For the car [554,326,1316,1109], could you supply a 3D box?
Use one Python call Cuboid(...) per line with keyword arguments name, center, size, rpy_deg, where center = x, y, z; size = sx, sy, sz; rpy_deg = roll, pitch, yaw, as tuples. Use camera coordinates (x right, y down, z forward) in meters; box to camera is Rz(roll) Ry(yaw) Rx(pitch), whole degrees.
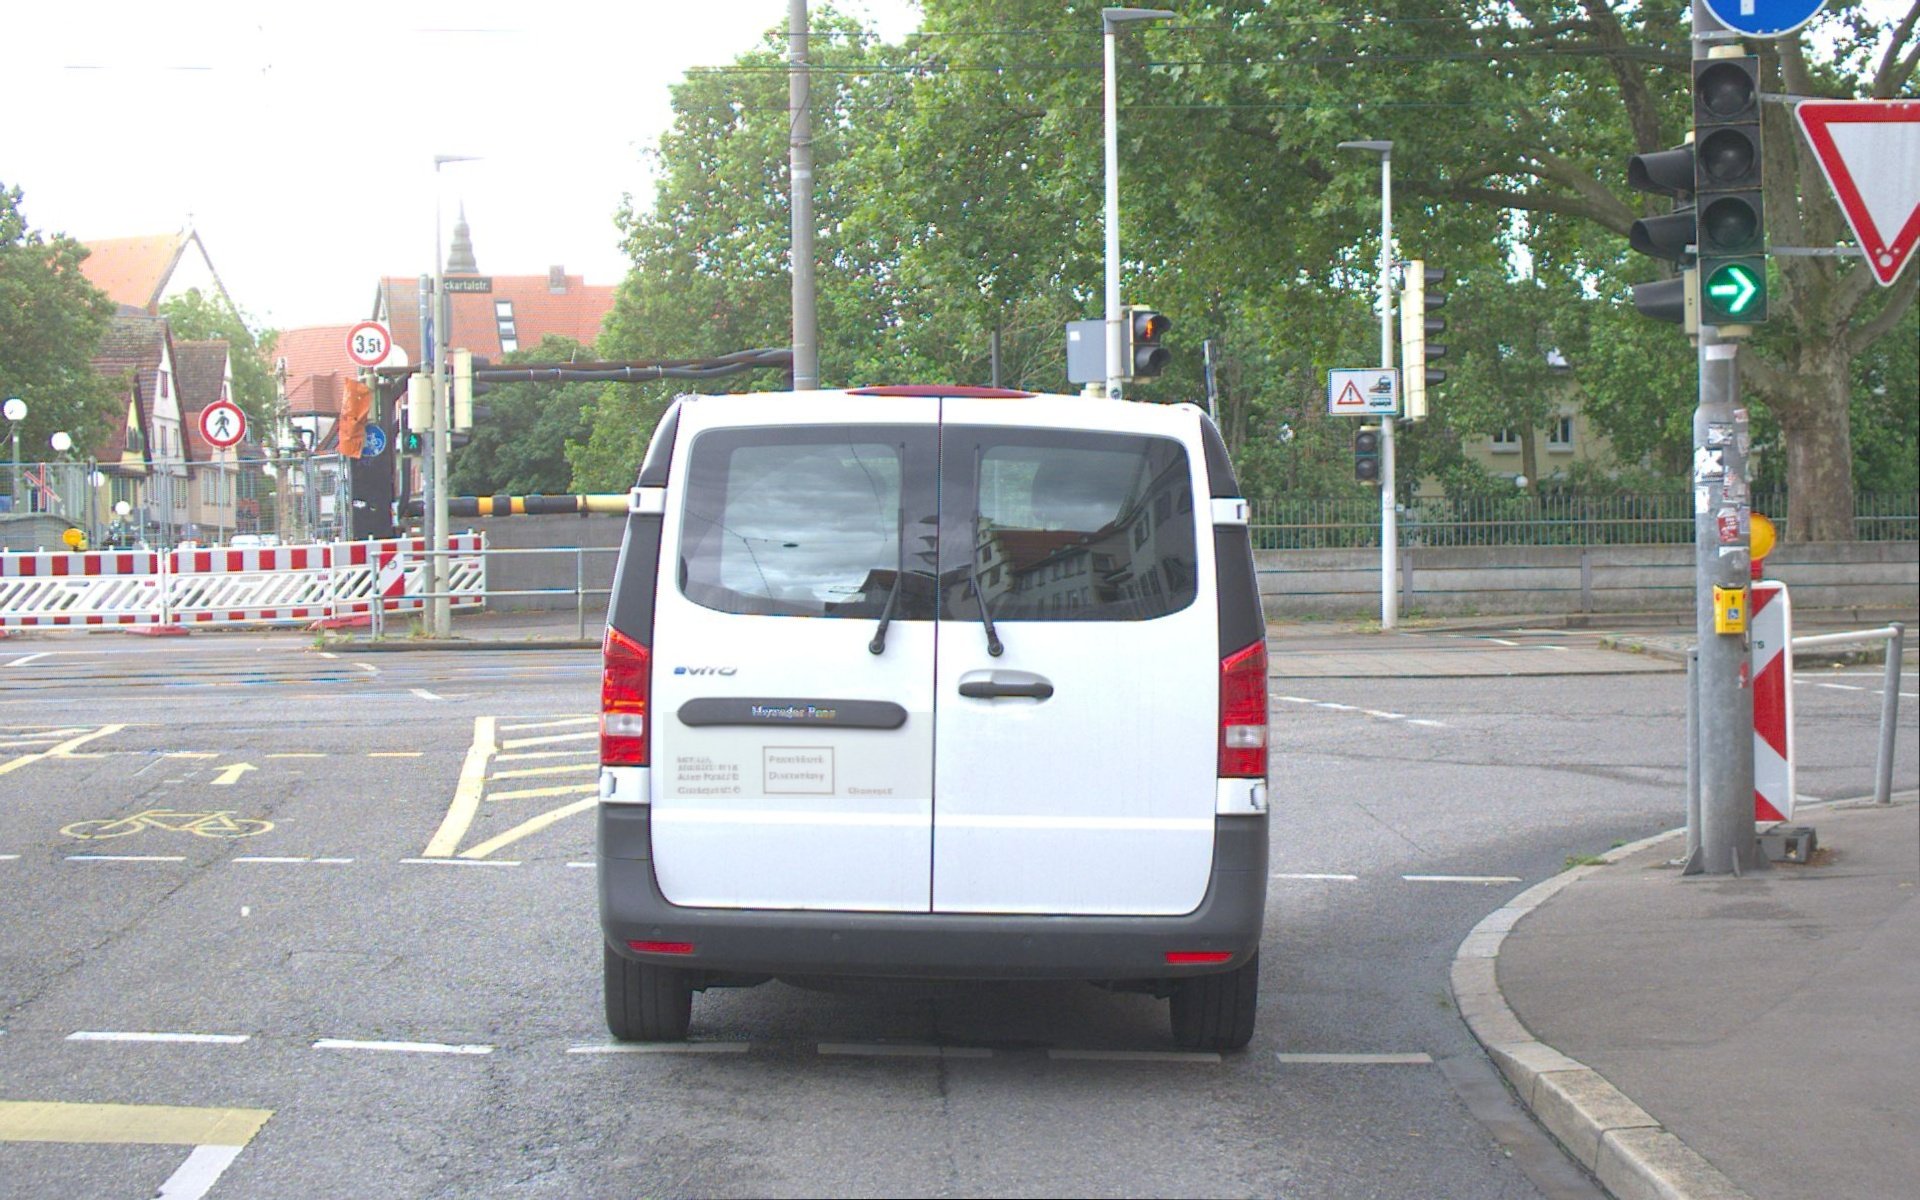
Cuboid(name="car", center=(-0.097, 0.244, 11.209), size=(1.951, 2.007, 4.698), rpy_deg=(0, 2, -1))
